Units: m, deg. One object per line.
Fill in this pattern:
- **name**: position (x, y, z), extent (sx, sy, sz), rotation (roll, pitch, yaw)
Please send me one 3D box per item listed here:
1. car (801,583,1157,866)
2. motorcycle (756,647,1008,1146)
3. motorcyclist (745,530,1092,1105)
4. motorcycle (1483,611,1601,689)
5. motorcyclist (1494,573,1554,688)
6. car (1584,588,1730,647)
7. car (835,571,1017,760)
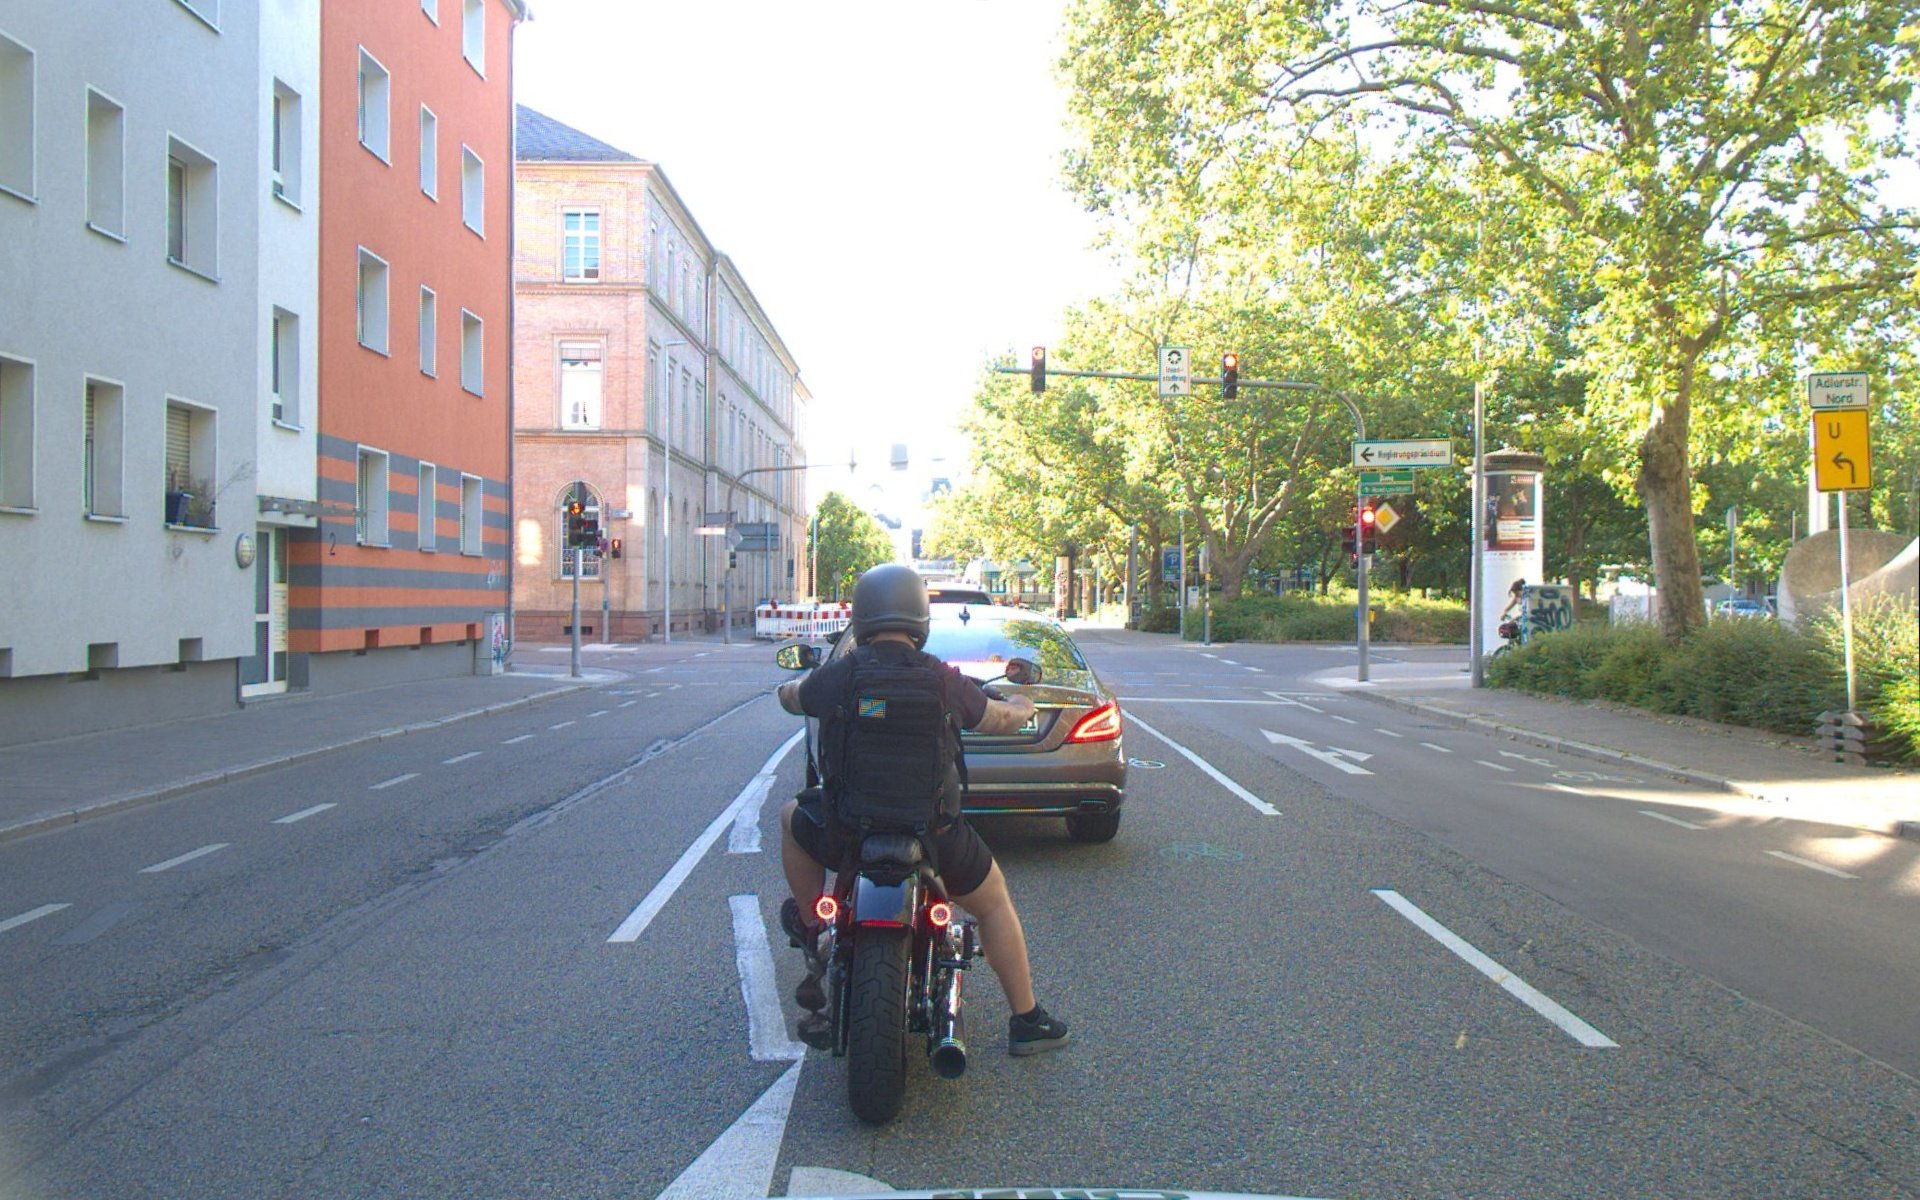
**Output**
- **car**: position (-0.087, 0.683, 11.121), extent (1.790, 1.512, 4.326), rotation (1, 0, -7)
- **motorcycle**: position (-0.221, 0.815, 5.411), extent (0.646, 1.261, 2.057), rotation (1, 0, -1)
- **motorcyclist**: position (-0.126, 0.628, 5.321), extent (0.970, 1.639, 1.120), rotation (1, 0, -1)
- **motorcycle**: position (9.775, 0.836, 27.818), extent (1.743, 1.265, 0.723), rotation (1, 0, 4)
- **motorcyclist**: position (9.484, 0.504, 27.829), extent (0.805, 1.896, 0.672), rotation (1, -1, 4)
- **car**: position (21.992, 0.538, 52.288), extent (3.907, 1.803, 1.737), rotation (0, 0, -3)
- **car**: position (-0.332, 0.599, 16.964), extent (1.618, 1.681, 3.999), rotation (1, 0, -1)
